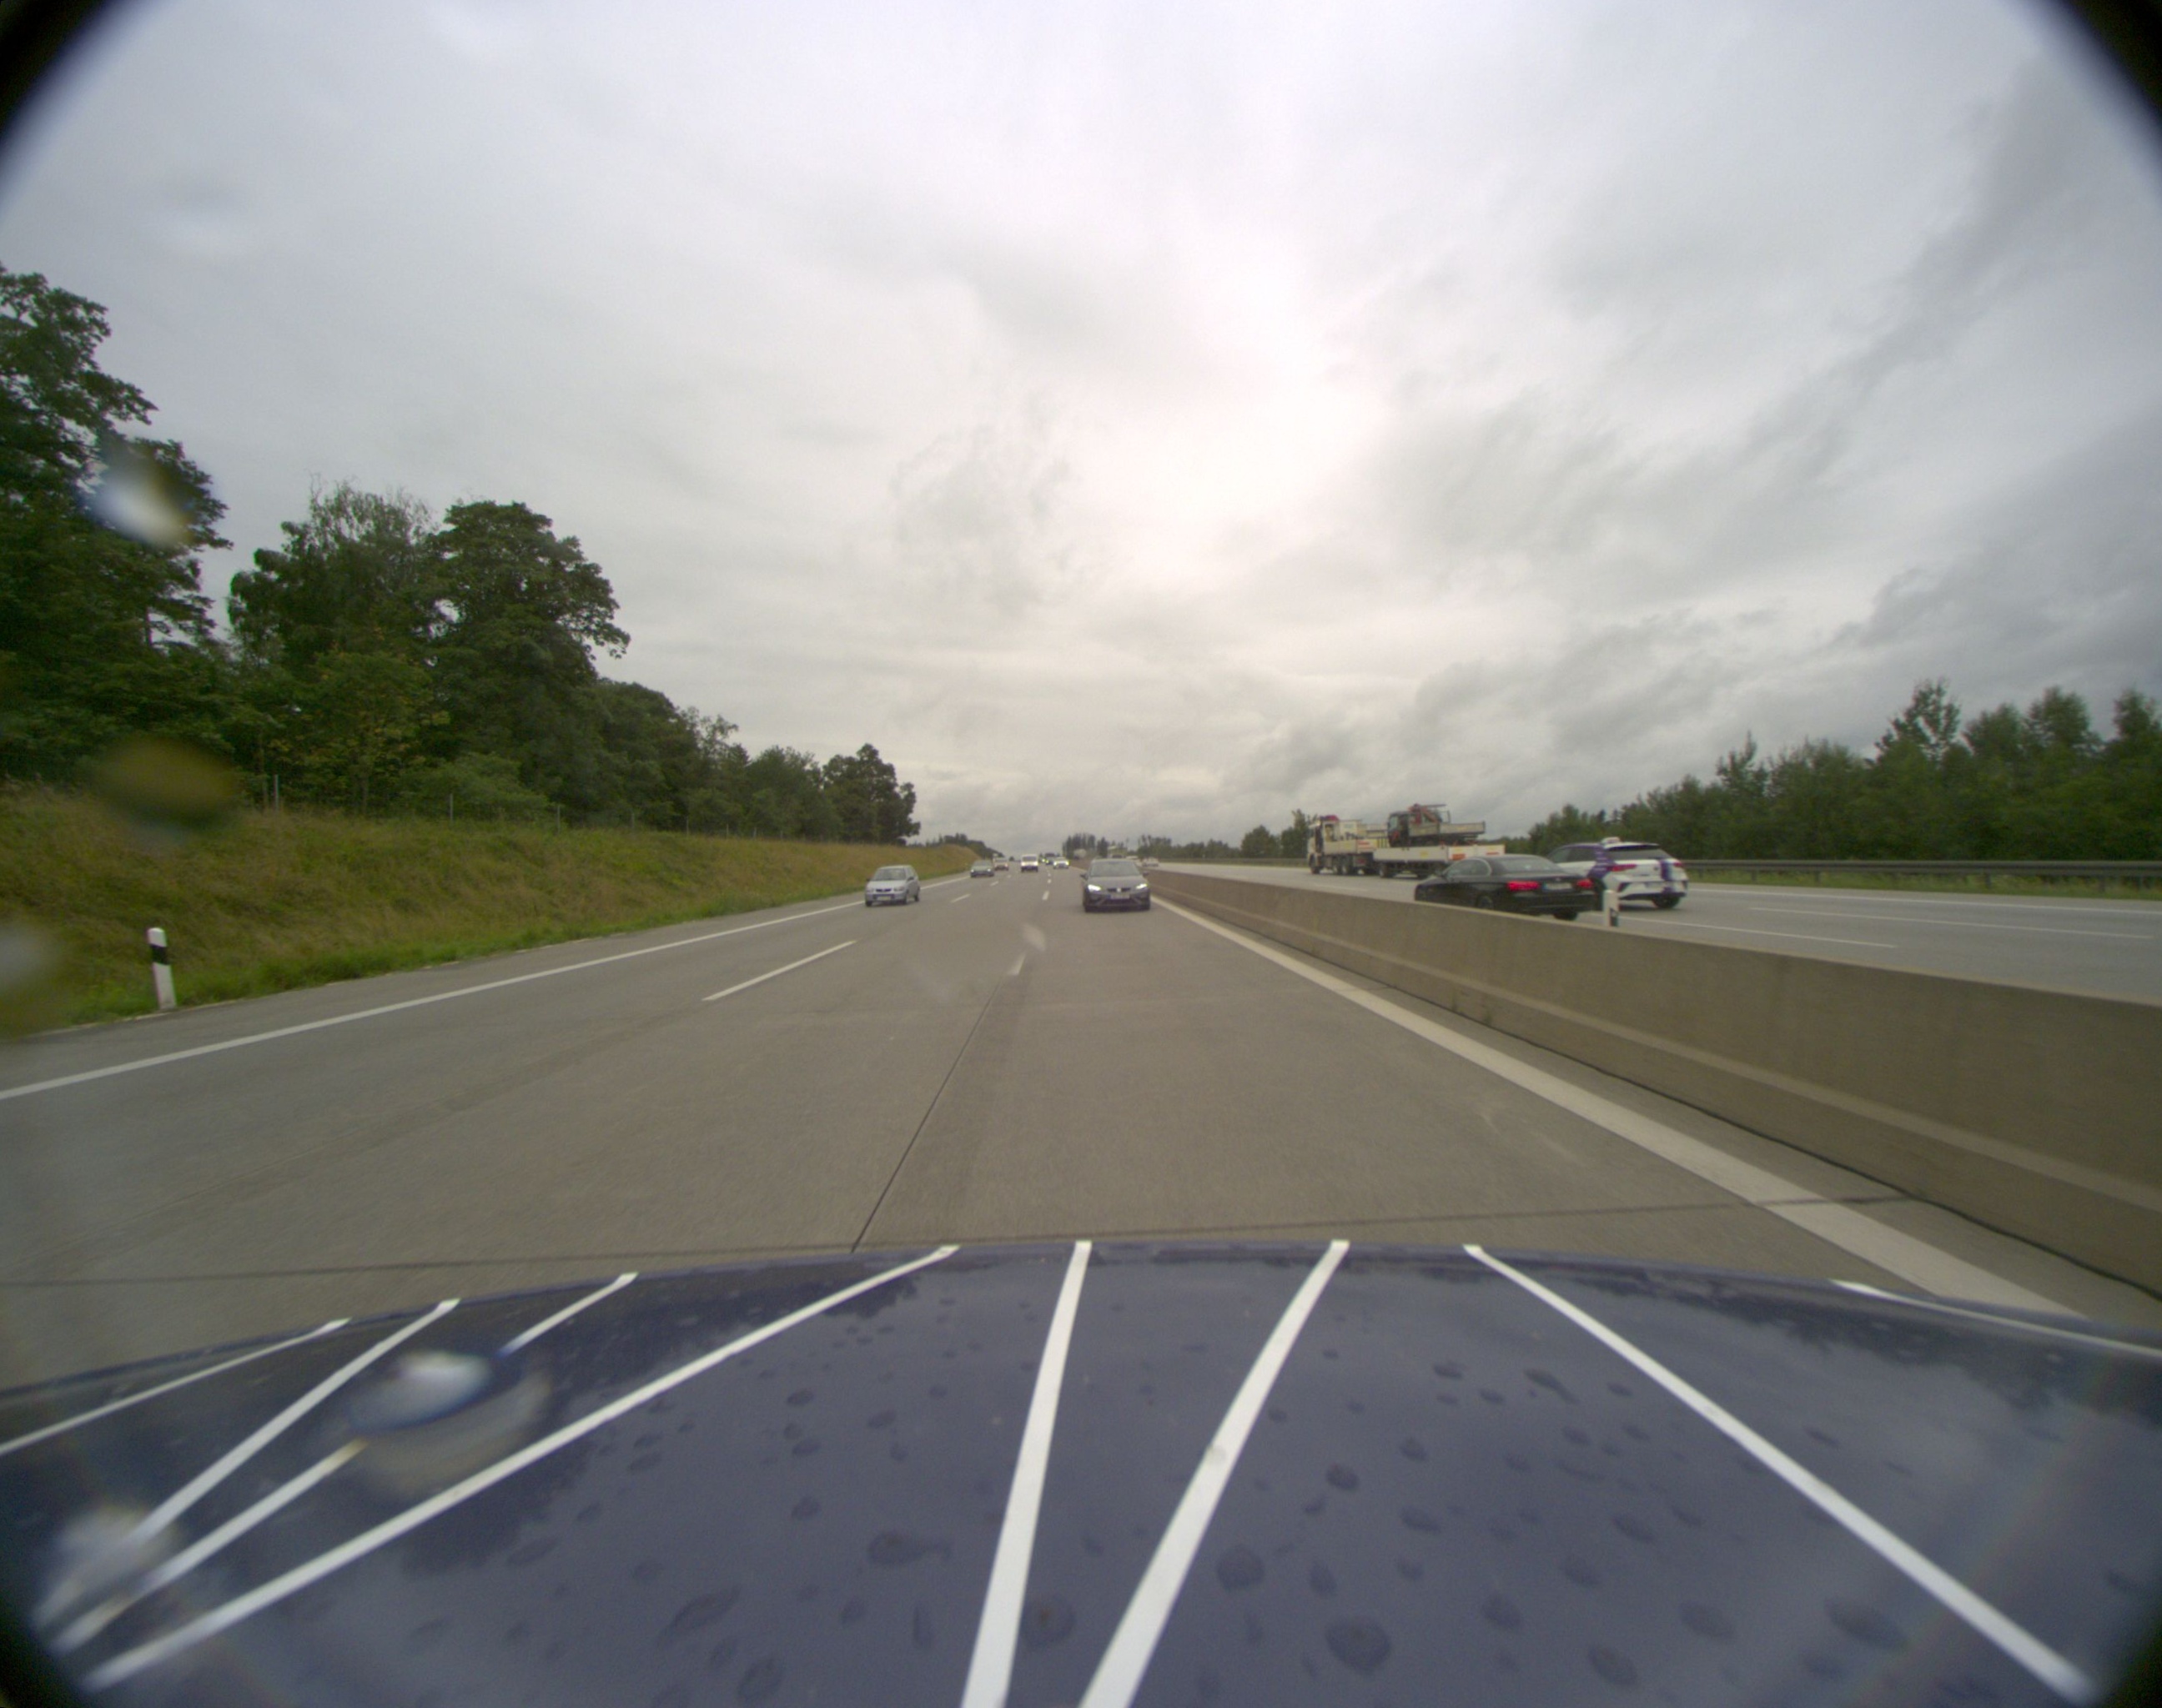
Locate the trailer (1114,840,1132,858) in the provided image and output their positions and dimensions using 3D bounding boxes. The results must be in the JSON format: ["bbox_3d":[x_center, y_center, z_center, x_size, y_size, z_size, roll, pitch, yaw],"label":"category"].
[{"bbox_3d":[9.147,-1.151,167.530,2.757,3.777,9.312,-2,0,-4],"label":"trailer"}]

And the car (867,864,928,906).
[{"bbox_3d":[-6.865,1.129,28.693,1.489,1.462,3.504,-2,-1,-1],"label":"car"}]

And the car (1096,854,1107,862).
[{"bbox_3d":[4.512,0.909,167.664,1.999,1.580,4.769,-2,0,-3],"label":"car"}]

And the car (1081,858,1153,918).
[{"bbox_3d":[0.936,0.881,21.872,1.790,1.472,4.570,-1,0,0],"label":"car"}]

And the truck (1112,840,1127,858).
[{"bbox_3d":[8.806,-1.176,173.529,2.758,3.780,5.528,-2,1,-3],"label":"truck"}]

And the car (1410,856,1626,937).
[{"bbox_3d":[8.782,0.761,15.820,1.767,1.260,4.491,0,2,-2],"label":"car"}]

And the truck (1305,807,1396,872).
[{"bbox_3d":[16.297,-0.810,46.528,2.593,3.631,7.659,-1,0,-2],"label":"truck"}]

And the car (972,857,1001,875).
[{"bbox_3d":[-8.399,1.043,67.661,2.019,1.437,4.744,-3,-1,-1],"label":"car"}]

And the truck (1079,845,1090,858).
[{"bbox_3d":[1.186,-0.854,246.888,2.755,3.975,6.927,-2,-1,-6],"label":"truck"}]

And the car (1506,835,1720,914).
[{"bbox_3d":[12.420,0.450,18.222,1.767,1.577,4.757,-3,0,1],"label":"car"}]

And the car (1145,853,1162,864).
[{"bbox_3d":[9.779,0.640,103.115,1.741,1.359,4.097,-5,-1,-1],"label":"car"}]

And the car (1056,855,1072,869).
[{"bbox_3d":[-2.217,1.064,98.051,1.999,1.632,5.042,1,-1,-1],"label":"car"}]

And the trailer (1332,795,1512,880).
[{"bbox_3d":[16.542,-0.755,38.623,2.593,3.522,13.719,-1,1,-2],"label":"trailer"}]

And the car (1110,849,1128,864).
[{"bbox_3d":[5.265,0.339,106.849,1.999,2.001,5.525,-1,-1,-2],"label":"car"}]

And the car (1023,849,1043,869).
[{"bbox_3d":[-5.252,0.589,82.541,2.044,2.111,6.066,1,-1,-4],"label":"car"}]

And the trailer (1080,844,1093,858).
[{"bbox_3d":[1.736,-0.981,240.507,2.767,3.974,12.286,-2,-1,-5],"label":"trailer"}]

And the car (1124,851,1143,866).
[{"bbox_3d":[5.724,0.546,83.427,1.719,1.412,4.213,-5,-1,-1],"label":"car"}]

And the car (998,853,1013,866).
[{"bbox_3d":[-9.890,0.780,98.786,1.791,1.595,4.568,1,-1,-7],"label":"car"}]
